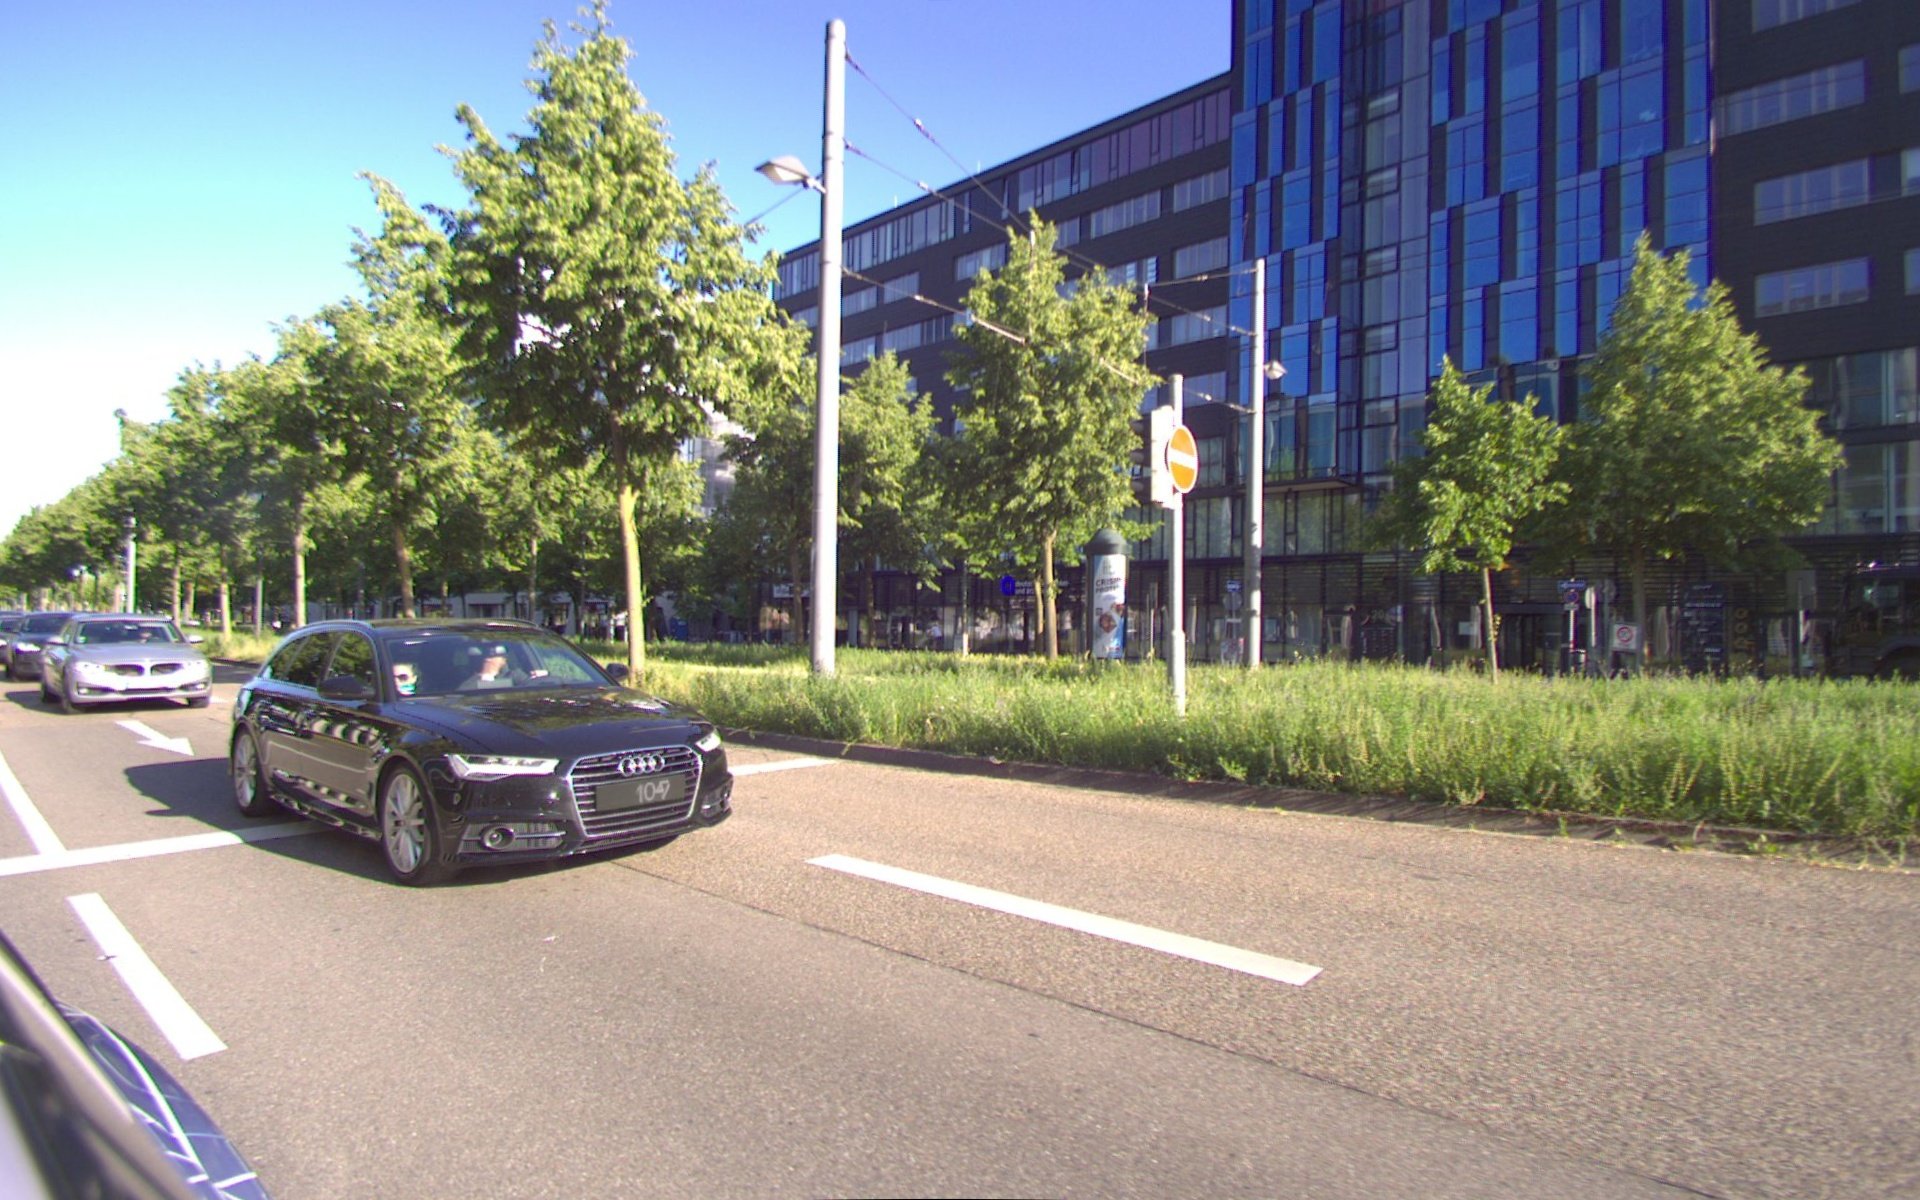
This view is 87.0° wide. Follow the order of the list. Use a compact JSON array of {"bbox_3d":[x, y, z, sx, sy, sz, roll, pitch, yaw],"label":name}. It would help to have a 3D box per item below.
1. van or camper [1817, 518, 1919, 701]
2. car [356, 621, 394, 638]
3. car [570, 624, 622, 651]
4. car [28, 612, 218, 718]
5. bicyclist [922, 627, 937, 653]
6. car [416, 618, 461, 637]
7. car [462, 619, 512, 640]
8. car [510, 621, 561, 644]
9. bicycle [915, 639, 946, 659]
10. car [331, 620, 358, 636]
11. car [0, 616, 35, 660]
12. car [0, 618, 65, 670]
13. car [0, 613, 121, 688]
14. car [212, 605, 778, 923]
[{"bbox_3d":[25.515,0.232,22.092,10.233,4.224,2.722,-1,-2,44],"label":"van or camper"},{"bbox_3d":[-59.689,2.975,103.242,4.792,1.712,1.985,-1,-2,43],"label":"car"},{"bbox_3d":[-25.127,2.572,69.798,4.001,1.762,1.833,-1,-2,44],"label":"car"},{"bbox_3d":[-13.856,0.970,16.643,4.743,1.500,1.788,-1,-2,43],"label":"car"},{"bbox_3d":[-1.664,2.171,55.473,0.626,1.416,0.486,0,-1,44],"label":"bicyclist"},{"bbox_3d":[-47.015,2.472,91.183,4.789,1.712,1.986,-1,-2,41],"label":"car"},{"bbox_3d":[-39.382,2.450,84.205,4.789,1.712,1.986,-1,-2,41],"label":"car"},{"bbox_3d":[-32.318,2.431,76.929,4.794,1.697,1.833,-1,-2,44],"label":"car"},{"bbox_3d":[-1.619,2.692,55.455,1.848,1.041,0.521,0,-1,44],"label":"bicycle"},{"bbox_3d":[-67.151,3.026,110.384,3.744,1.682,1.579,-1,-2,44],"label":"car"},{"bbox_3d":[-36.495,1.395,38.438,1.787,1.602,4.167,2,-2,-45],"label":"car"},{"bbox_3d":[-28.486,1.286,30.645,4.256,1.465,1.787,-1,-2,45],"label":"car"},{"bbox_3d":[-20.453,1.085,22.925,4.030,1.534,1.788,-1,-2,44],"label":"car"},{"bbox_3d":[-3.367,0.794,6.855,4.505,1.468,1.789,-1,-1,41],"label":"car"}]
